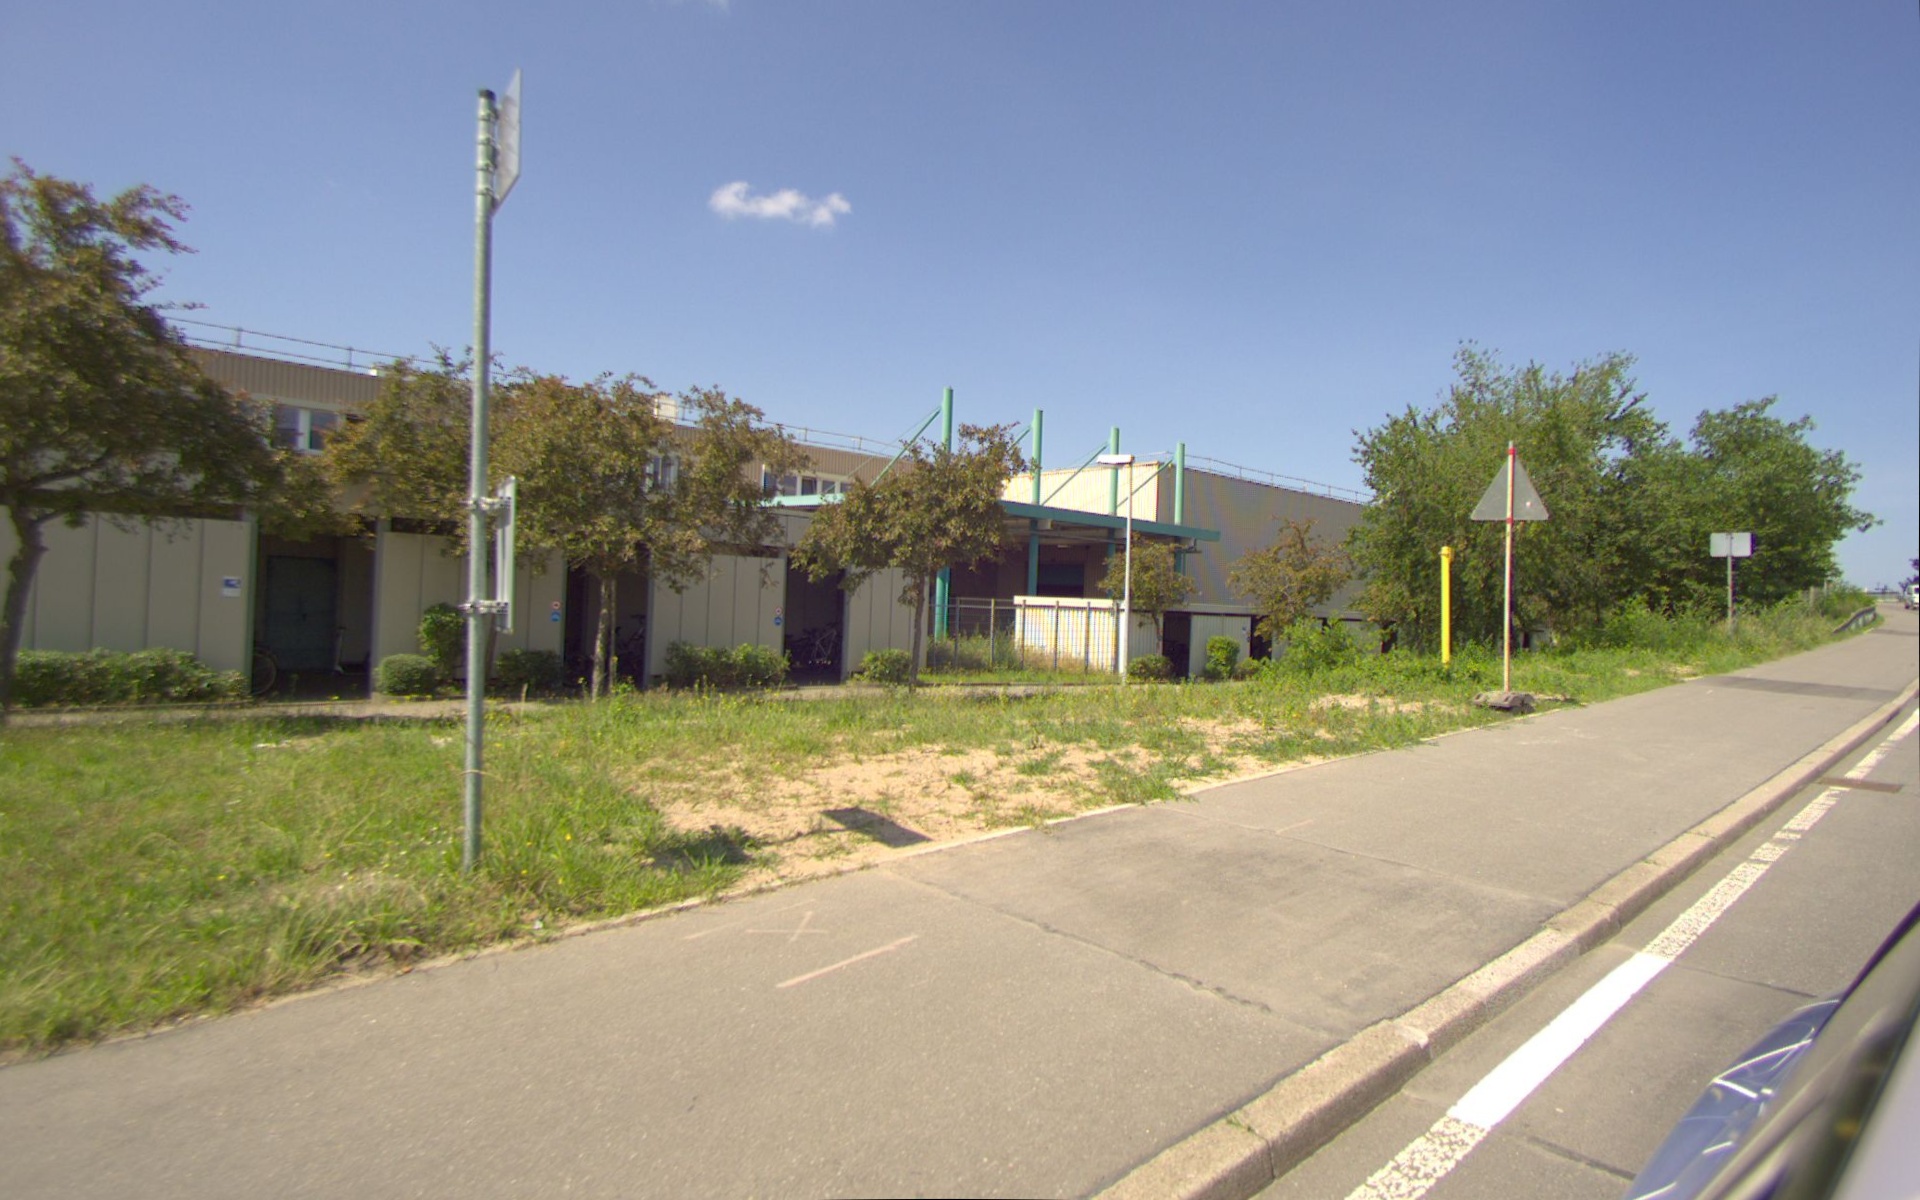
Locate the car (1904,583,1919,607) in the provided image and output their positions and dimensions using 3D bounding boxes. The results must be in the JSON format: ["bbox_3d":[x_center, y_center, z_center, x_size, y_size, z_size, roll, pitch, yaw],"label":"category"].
[{"bbox_3d":[72.128,-0.399,74.765,2.070,1.783,4.248,-1,-1,23],"label":"car"}]
